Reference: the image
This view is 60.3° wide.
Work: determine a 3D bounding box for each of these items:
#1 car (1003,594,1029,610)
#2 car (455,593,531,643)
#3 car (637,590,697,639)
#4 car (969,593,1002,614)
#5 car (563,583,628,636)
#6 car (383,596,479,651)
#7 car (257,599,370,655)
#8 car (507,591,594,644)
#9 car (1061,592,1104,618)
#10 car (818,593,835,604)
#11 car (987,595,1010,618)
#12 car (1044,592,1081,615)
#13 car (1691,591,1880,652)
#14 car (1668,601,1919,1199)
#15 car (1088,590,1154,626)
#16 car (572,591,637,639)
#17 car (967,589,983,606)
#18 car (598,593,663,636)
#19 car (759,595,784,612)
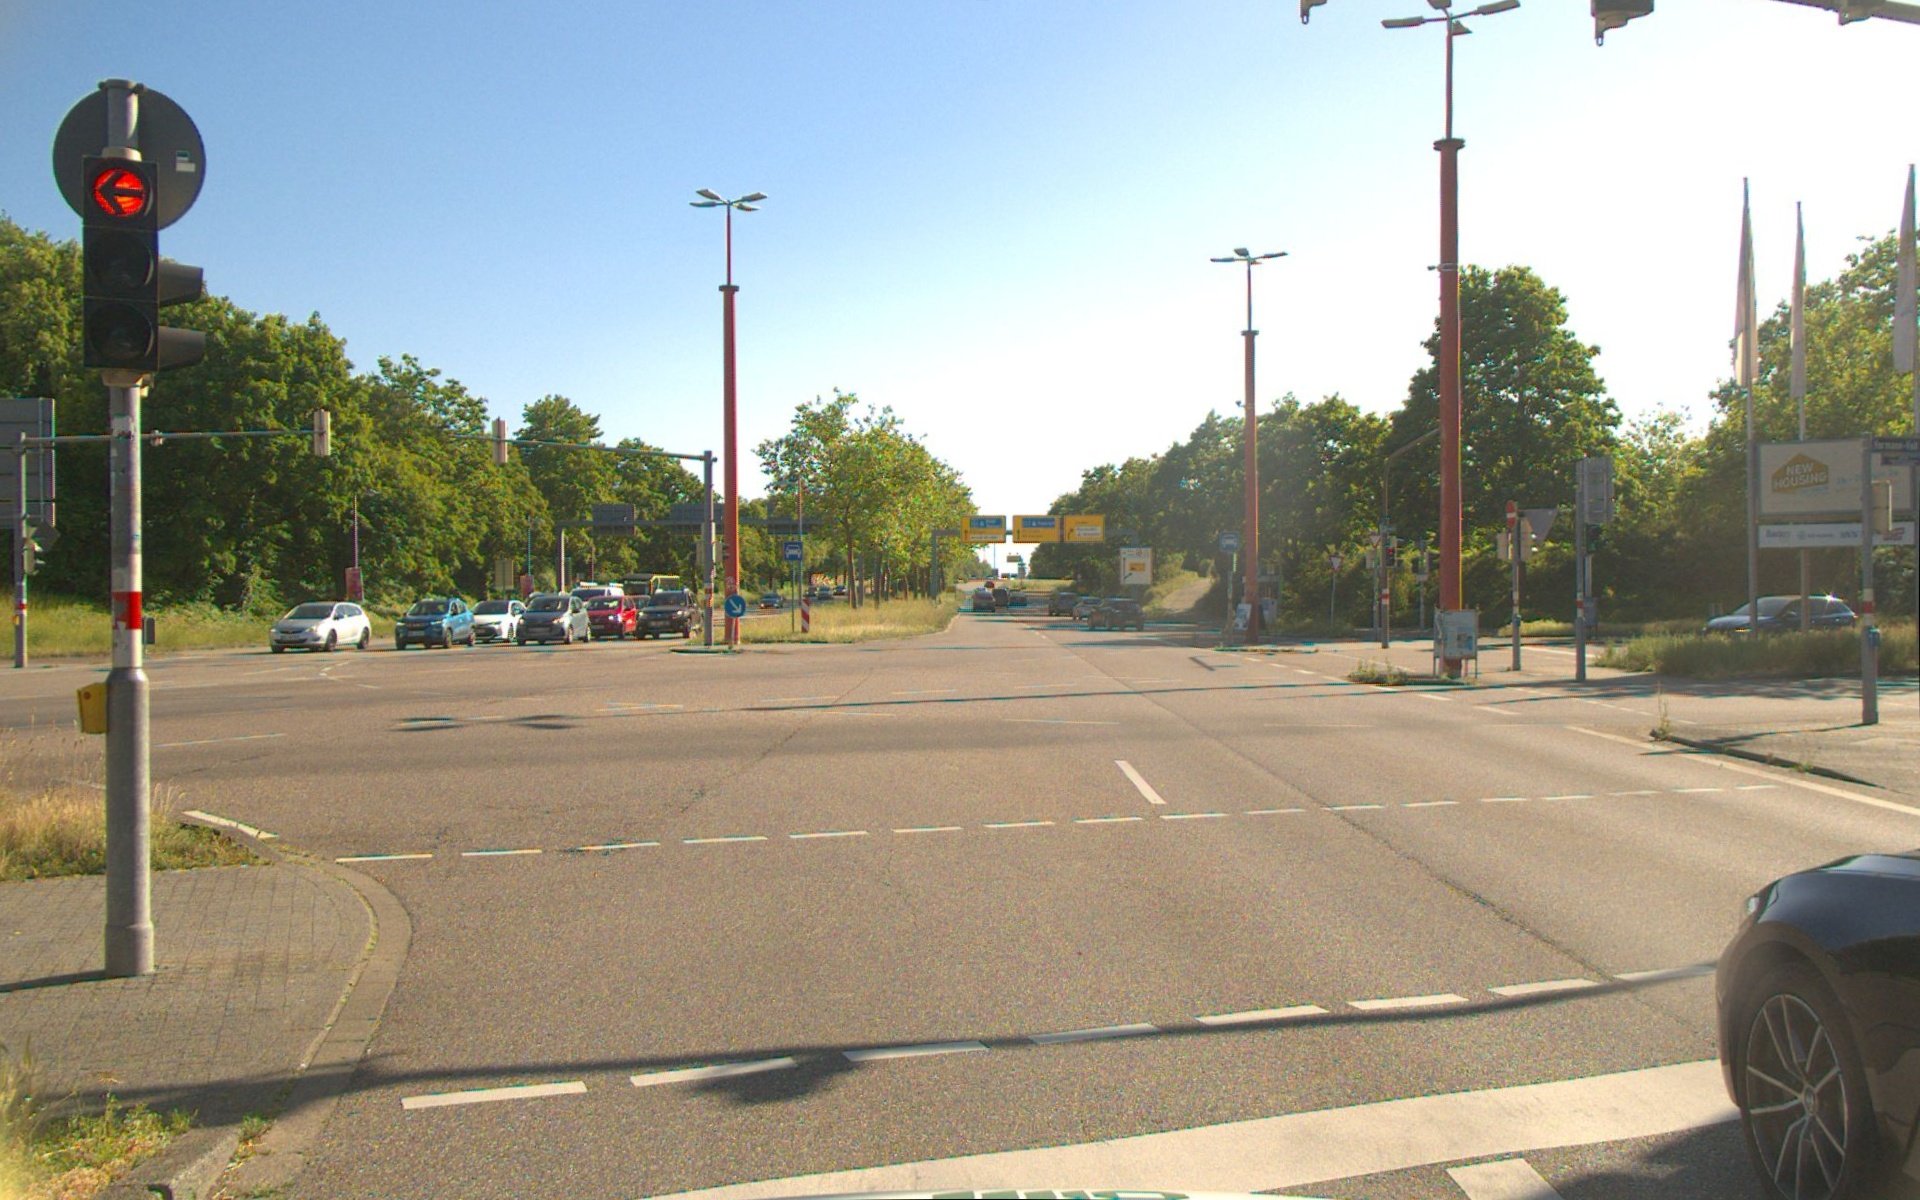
[{"bbox_3d":[5.582,0.196,164.751,2.116,1.601,4.277,0,0,-4],"label":"car"},{"bbox_3d":[-15.992,0.598,56.781,1.956,1.601,4.113,-1,0,-8],"label":"car"},{"bbox_3d":[-9.875,0.473,55.988,1.841,1.601,4.113,0,0,-8],"label":"car"},{"bbox_3d":[2.022,0.267,131.627,2.202,1.601,4.276,0,0,-5],"label":"car"},{"bbox_3d":[-15.673,0.387,71.261,2.021,2.231,4.376,0,0,-3],"label":"car"},{"bbox_3d":[-16.209,0.683,50.887,1.955,1.601,4.116,0,0,-5],"label":"car"},{"bbox_3d":[-19.588,0.786,50.294,1.954,1.601,4.118,0,0,-3],"label":"car"},{"bbox_3d":[-12.806,0.523,51.961,1.954,1.601,4.118,0,0,-4],"label":"car"},{"bbox_3d":[7.791,0.305,105.677,2.116,1.601,4.277,0,0,-4],"label":"car"},{"bbox_3d":[-16.896,-0.201,209.968,1.846,1.480,3.656,0,0,0],"label":"car"},{"bbox_3d":[3.495,0.604,150.310,1.953,2.049,3.999,0,0,-1],"label":"car"},{"bbox_3d":[7.419,0.265,119.900,2.116,1.601,4.277,0,0,-4],"label":"car"},{"bbox_3d":[20.756,0.512,41.594,4.201,1.453,1.874,0,0,-19],"label":"car"},{"bbox_3d":[2.972,0.716,2.357,1.953,1.419,4.476,0,0,-1],"label":"car"},{"bbox_3d":[7.408,0.362,76.568,2.119,1.601,4.273,0,0,-8],"label":"car"},{"bbox_3d":[-12.480,0.508,58.268,1.956,1.601,4.113,0,0,-8],"label":"car"},{"bbox_3d":[1.853,-0.348,205.856,1.953,2.049,3.999,0,0,-1],"label":"car"},{"bbox_3d":[-12.713,0.529,64.043,1.954,1.601,4.117,0,0,-4],"label":"car"},{"bbox_3d":[-18.171,0.357,159.324,1.953,1.601,4.120,0,0,0],"label":"car"}]
